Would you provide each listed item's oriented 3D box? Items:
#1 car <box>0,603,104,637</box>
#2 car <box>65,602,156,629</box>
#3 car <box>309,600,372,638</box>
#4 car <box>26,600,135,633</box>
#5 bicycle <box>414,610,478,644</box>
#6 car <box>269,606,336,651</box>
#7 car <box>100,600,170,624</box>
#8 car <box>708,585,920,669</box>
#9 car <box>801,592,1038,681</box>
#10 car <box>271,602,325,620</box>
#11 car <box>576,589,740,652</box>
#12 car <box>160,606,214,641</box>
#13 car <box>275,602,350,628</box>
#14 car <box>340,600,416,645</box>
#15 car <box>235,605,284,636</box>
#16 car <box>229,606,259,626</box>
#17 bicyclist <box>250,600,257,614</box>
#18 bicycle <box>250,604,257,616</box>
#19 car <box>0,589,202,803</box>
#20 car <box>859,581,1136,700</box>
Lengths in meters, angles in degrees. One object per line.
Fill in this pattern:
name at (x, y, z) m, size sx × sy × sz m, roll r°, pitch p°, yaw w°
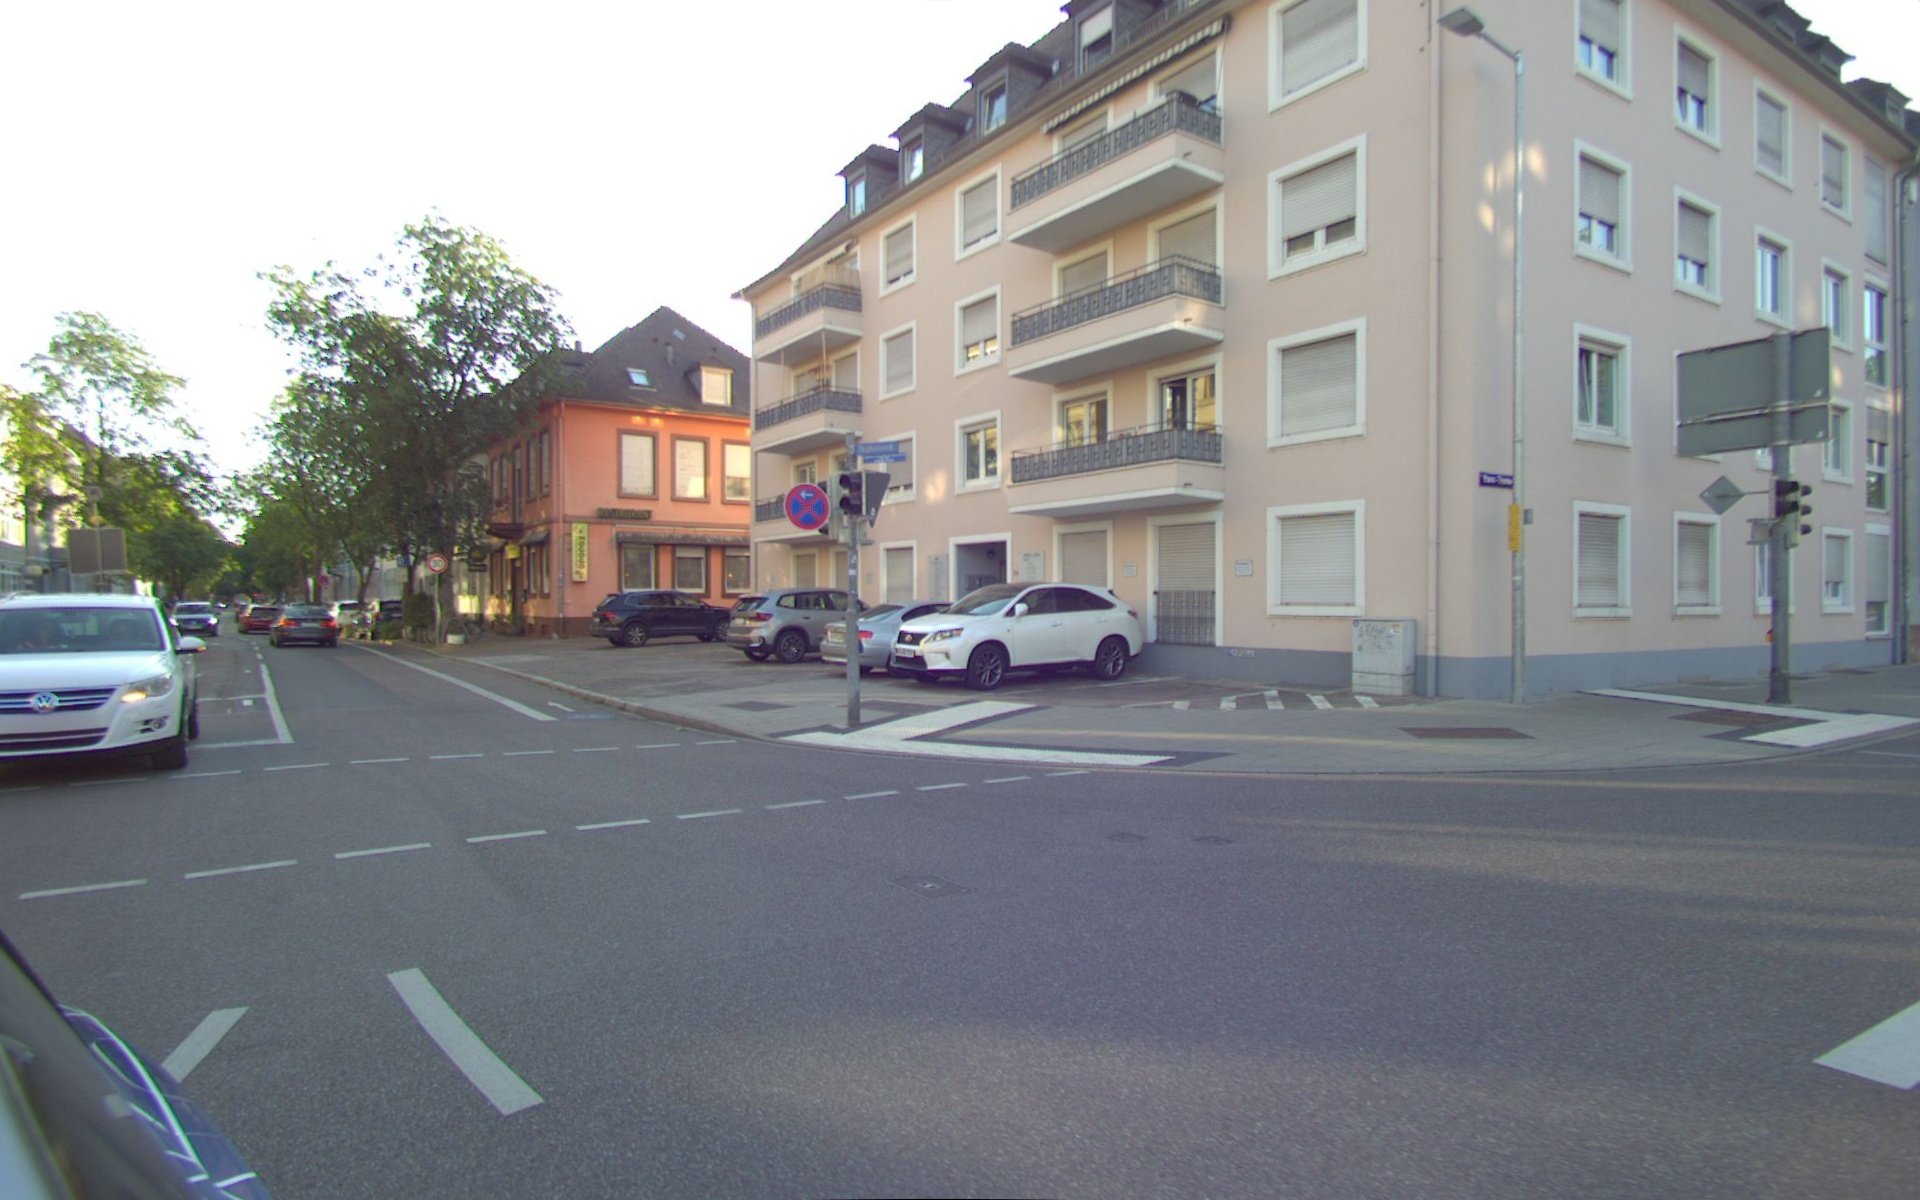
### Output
car at (-42.762, 0.946, 47.178) m, size 4.302 × 1.475 × 1.837 m, roll 3°, pitch -2°, yaw -40°
car at (-53.681, 0.986, 64.051) m, size 4.300 × 1.636 × 1.737 m, roll 2°, pitch -2°, yaw -38°
car at (-31.355, 0.918, 51.171) m, size 1.806 × 1.680 × 4.662 m, roll -5°, pitch 3°, yaw -42°
car at (-47.618, 0.920, 54.919) m, size 4.300 × 1.655 × 2.058 m, roll 3°, pitch -2°, yaw -38°
bicycle at (-17.514, 0.898, 34.517) m, size 1.844 × 1.112 × 0.611 m, roll -1°, pitch 0°, yaw -42°
car at (-23.295, 0.966, 35.797) m, size 1.758 × 1.470 × 4.434 m, roll 1°, pitch 0°, yaw -36°
car at (-67.255, 0.990, 82.591) m, size 4.300 × 1.792 × 1.737 m, roll 2°, pitch -2°, yaw -38°
car at (-3.254, 0.547, 22.960) m, size 4.361 × 1.617 × 1.920 m, roll -3°, pitch 1°, yaw -37°
car at (-0.705, 0.617, 19.161) m, size 4.211 × 1.391 × 1.739 m, roll -3°, pitch 1°, yaw -37°
car at (-62.393, 1.003, 95.386) m, size 4.165 × 1.677 × 1.804 m, roll 0°, pitch 0°, yaw -38°
car at (-9.146, 0.574, 30.793) m, size 4.361 × 1.677 × 1.868 m, roll -3°, pitch 1°, yaw -37°
car at (-35.957, 1.067, 47.090) m, size 1.921 × 1.567 × 4.009 m, roll 0°, pitch 0°, yaw -37°
car at (-43.899, 1.010, 68.669) m, size 4.165 × 1.702 × 1.804 m, roll 0°, pitch 0°, yaw -38°
car at (-25.797, 0.943, 44.765) m, size 1.806 × 1.772 × 5.055 m, roll -5°, pitch 3°, yaw -42°
car at (-36.827, 1.087, 53.152) m, size 1.807 × 1.557 × 4.857 m, roll 1°, pitch -1°, yaw -38°
car at (-54.269, 1.216, 76.706) m, size 1.636 × 1.483 × 3.861 m, roll 1°, pitch -2°, yaw -38°
bicyclist at (-69.779, 0.697, 99.961) m, size 0.617 × 1.374 × 0.931 m, roll 0°, pitch 1°, yaw -36°
bicycle at (-69.801, 0.972, 99.992) m, size 0.616 × 1.164 × 2.058 m, roll 0°, pitch 1°, yaw -35°
car at (-8.746, 0.765, 9.963) m, size 1.926 × 1.689 × 4.554 m, roll 0°, pitch 0°, yaw -35°
car at (0.710, 0.579, 17.032) m, size 4.383 × 1.653 × 1.946 m, roll -3°, pitch 1°, yaw -37°
